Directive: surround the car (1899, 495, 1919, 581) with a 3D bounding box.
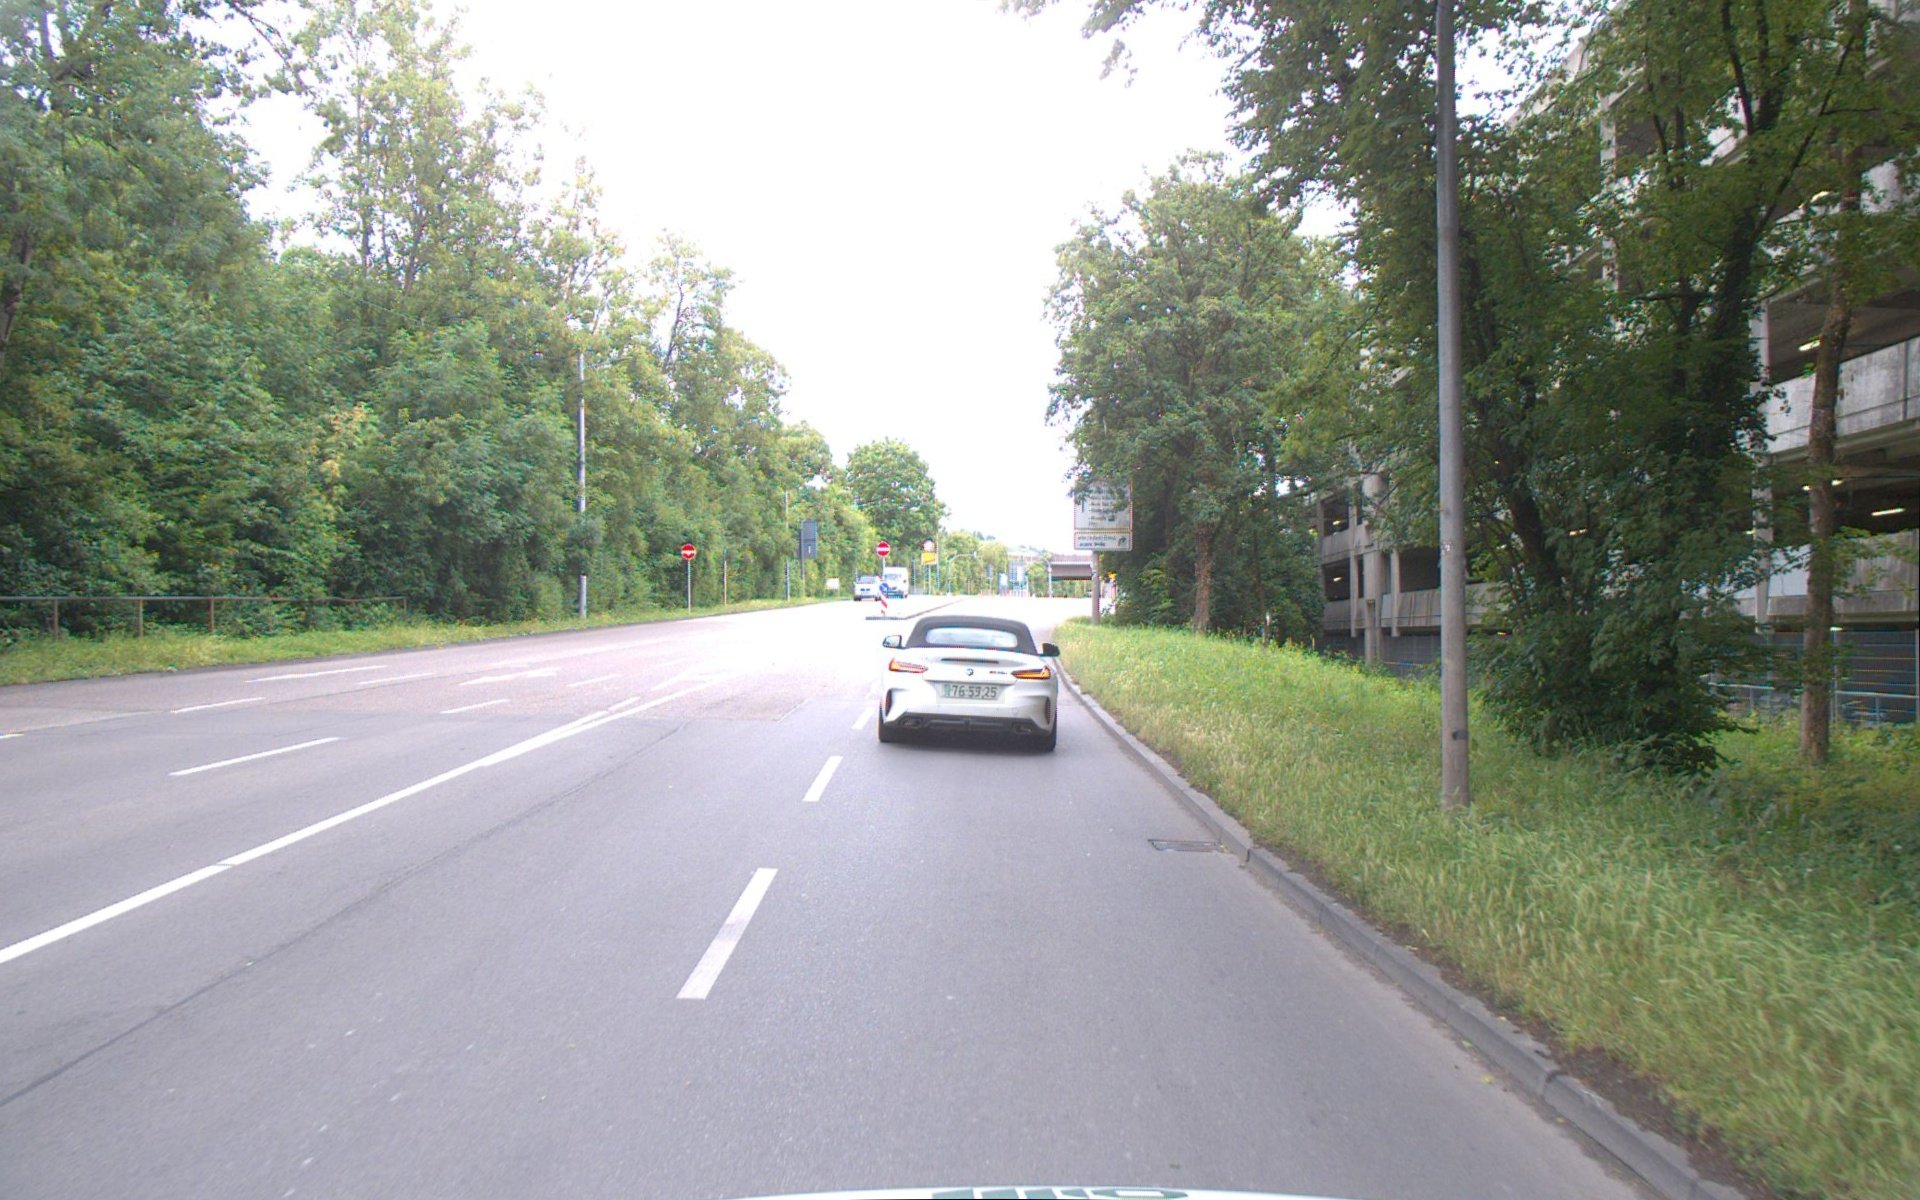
[{"bbox_3d":[17.246,-1.036,26.142,3.751,1.367,1.834,-1,-1,5],"label":"car"}]

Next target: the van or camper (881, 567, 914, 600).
[{"bbox_3d":[-5.323,-1.373,141.512,2.235,2.599,6.861,2,0,2],"label":"van or camper"}]

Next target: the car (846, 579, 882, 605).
[{"bbox_3d":[-6.942,-0.592,120.047,1.774,1.862,4.387,0,1,8],"label":"car"}]

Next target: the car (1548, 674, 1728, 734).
[{"bbox_3d":[17.737,2.702,43.407,3.923,1.462,1.949,-1,-2,0],"label":"car"}]

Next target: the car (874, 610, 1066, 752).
[{"bbox_3d":[0.163,0.801,18.022,1.836,1.332,3.874,2,0,2],"label":"car"}]
